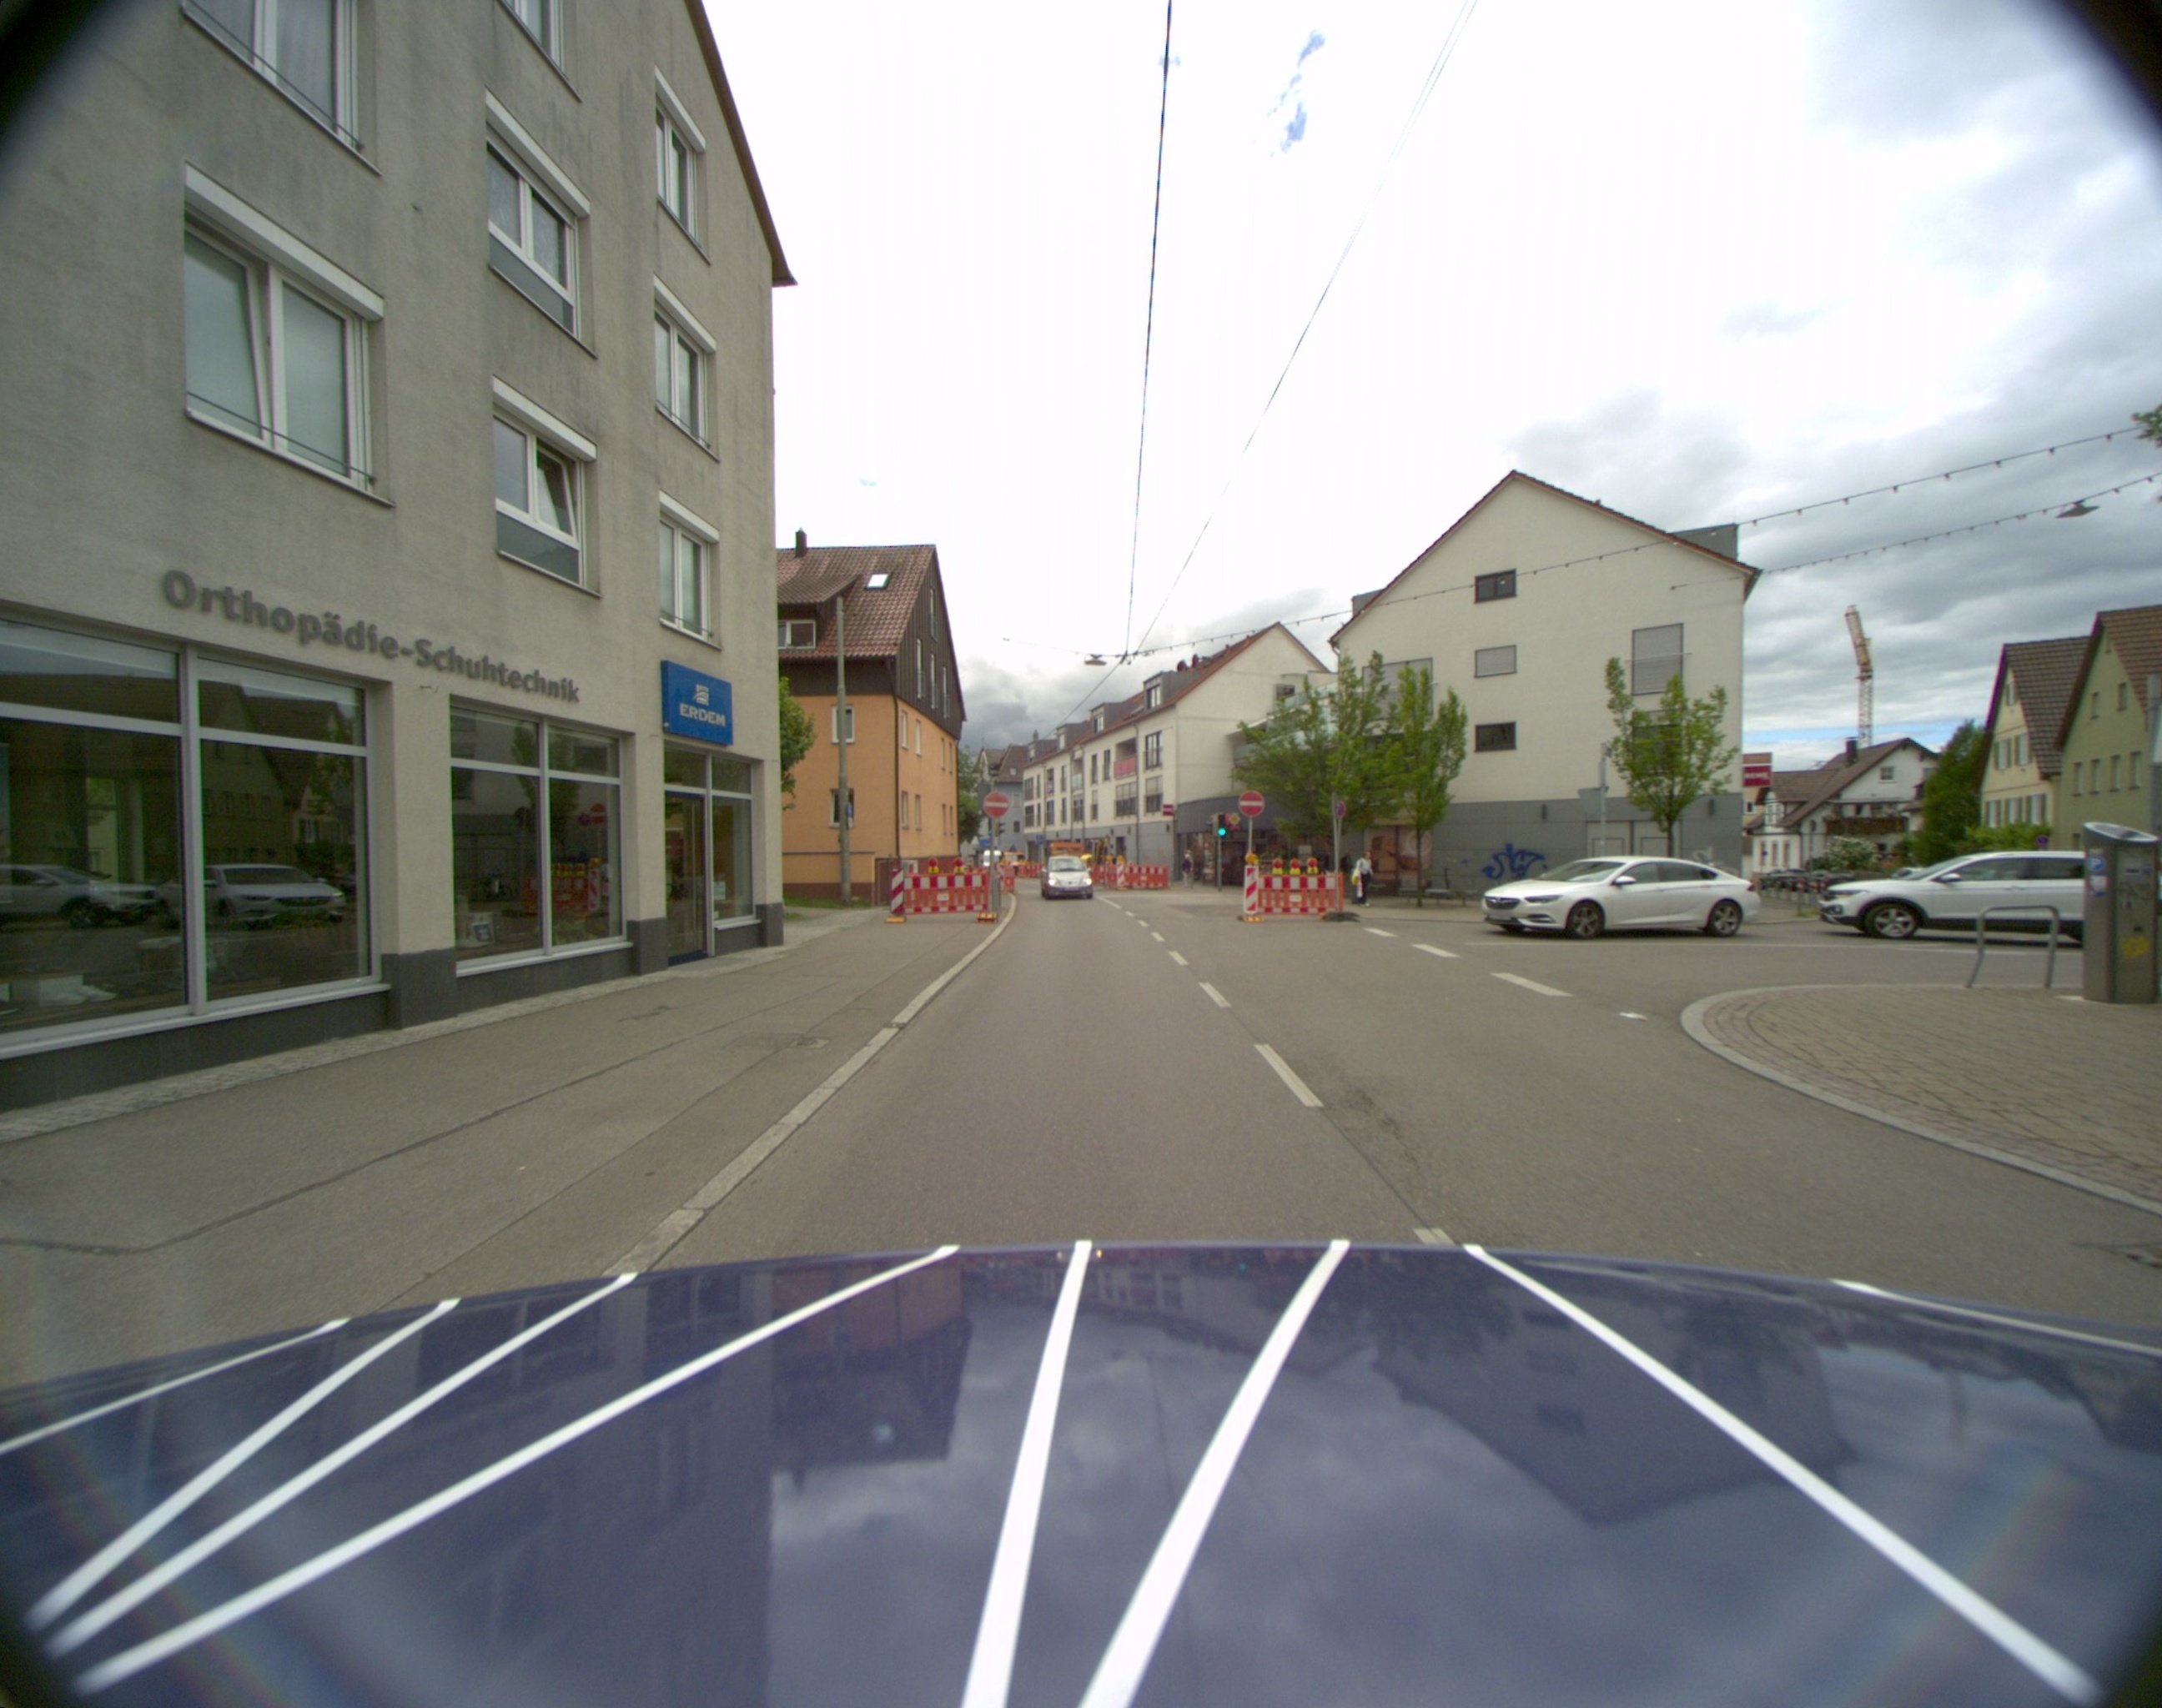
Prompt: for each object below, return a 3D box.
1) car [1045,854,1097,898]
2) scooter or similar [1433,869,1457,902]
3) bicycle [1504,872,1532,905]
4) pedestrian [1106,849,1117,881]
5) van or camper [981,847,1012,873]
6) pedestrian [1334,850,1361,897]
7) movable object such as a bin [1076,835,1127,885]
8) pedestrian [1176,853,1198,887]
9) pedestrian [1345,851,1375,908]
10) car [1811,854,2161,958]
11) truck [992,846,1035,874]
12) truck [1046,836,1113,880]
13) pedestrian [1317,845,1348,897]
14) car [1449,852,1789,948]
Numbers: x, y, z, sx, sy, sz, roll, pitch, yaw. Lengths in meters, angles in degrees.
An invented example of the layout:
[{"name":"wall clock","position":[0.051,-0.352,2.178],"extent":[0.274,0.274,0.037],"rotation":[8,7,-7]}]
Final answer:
[{"name":"car","position":[-0.452,0.812,29.056],"extent":[1.858,1.547,4.352],"rotation":[0,-1,-2]},{"name":"scooter or similar","position":[12.857,1.105,26.834],"extent":[0.596,1.116,1.536],"rotation":[0,0,32]},{"name":"bicycle","position":[14.568,1.149,25.309],"extent":[0.749,1.040,2.156],"rotation":[0,-2,31]},{"name":"pedestrian","position":[1.643,0.604,41.035],"extent":[0.539,1.734,0.443],"rotation":[0,0,-12]},{"name":"van or camper","position":[-8.792,0.625,78.129],"extent":[2.328,2.591,6.200],"rotation":[0,-1,-14]},{"name":"pedestrian","position":[10.243,0.743,29.239],"extent":[0.695,1.780,0.716],"rotation":[-1,0,-41]},{"name":"movable object such as a bin","position":[1.135,0.295,44.218],"extent":[1.846,2.747,4.499],"rotation":[0,1,-14]},{"name":"pedestrian","position":[5.240,0.783,37.624],"extent":[0.835,1.702,0.815],"rotation":[0,0,-9]},{"name":"pedestrian","position":[7.934,0.711,21.640],"extent":[0.682,1.583,0.880],"rotation":[0,0,10]},{"name":"car","position":[16.144,0.828,13.109],"extent":[4.905,1.548,2.025],"rotation":[-2,0,37]},{"name":"truck","position":[-6.230,0.590,69.241],"extent":[2.423,2.451,6.298],"rotation":[0,-1,-19]},{"name":"truck","position":[-0.256,0.303,50.629],"extent":[2.742,2.708,6.839],"rotation":[0,-1,-15]},{"name":"pedestrian","position":[9.406,0.612,28.427],"extent":[0.818,1.914,0.782],"rotation":[-1,0,-37]},{"name":"car","position":[9.806,0.773,14.081],"extent":[4.918,1.468,2.248],"rotation":[-2,0,-8]}]
